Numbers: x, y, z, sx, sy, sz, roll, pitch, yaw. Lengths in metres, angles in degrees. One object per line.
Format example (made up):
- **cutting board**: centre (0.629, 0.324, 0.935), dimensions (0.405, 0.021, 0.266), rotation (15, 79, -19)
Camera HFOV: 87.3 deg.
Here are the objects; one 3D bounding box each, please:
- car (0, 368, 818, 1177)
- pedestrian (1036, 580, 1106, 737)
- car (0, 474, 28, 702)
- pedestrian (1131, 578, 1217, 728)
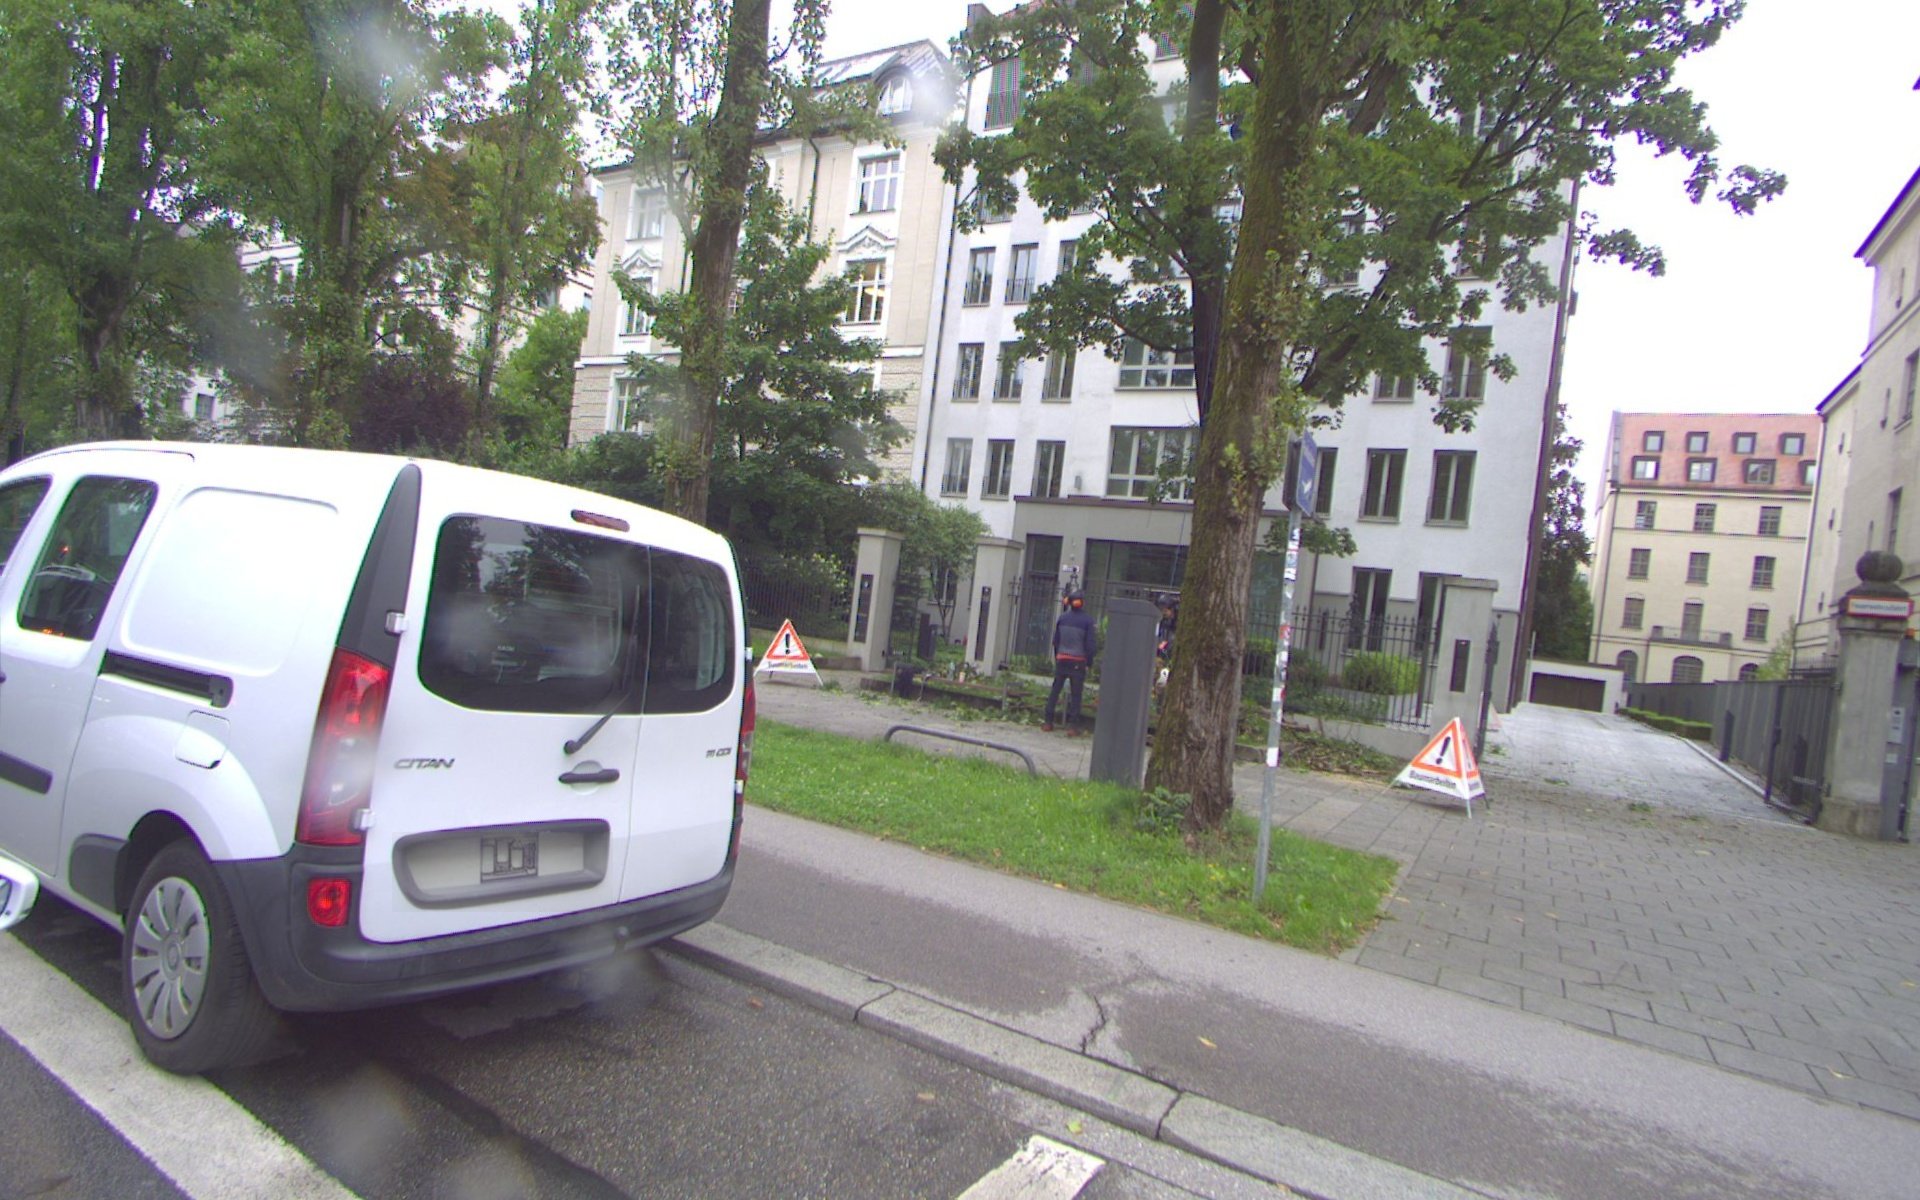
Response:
- **car**: centre (-2.879, 0.256, 4.181), dimensions (4.097, 1.904, 1.854), rotation (7, 0, 30)
- **pedestrian**: centre (1.423, 0.735, 12.805), dimensions (0.626, 1.886, 0.488), rotation (7, 1, 14)
- **car**: centre (-8.959, -0.353, 7.520), dimensions (4.141, 1.612, 1.743), rotation (7, 0, 31)
- **pedestrian**: centre (2.835, 0.693, 13.427), dimensions (0.814, 1.823, 0.904), rotation (9, 2, 10)
